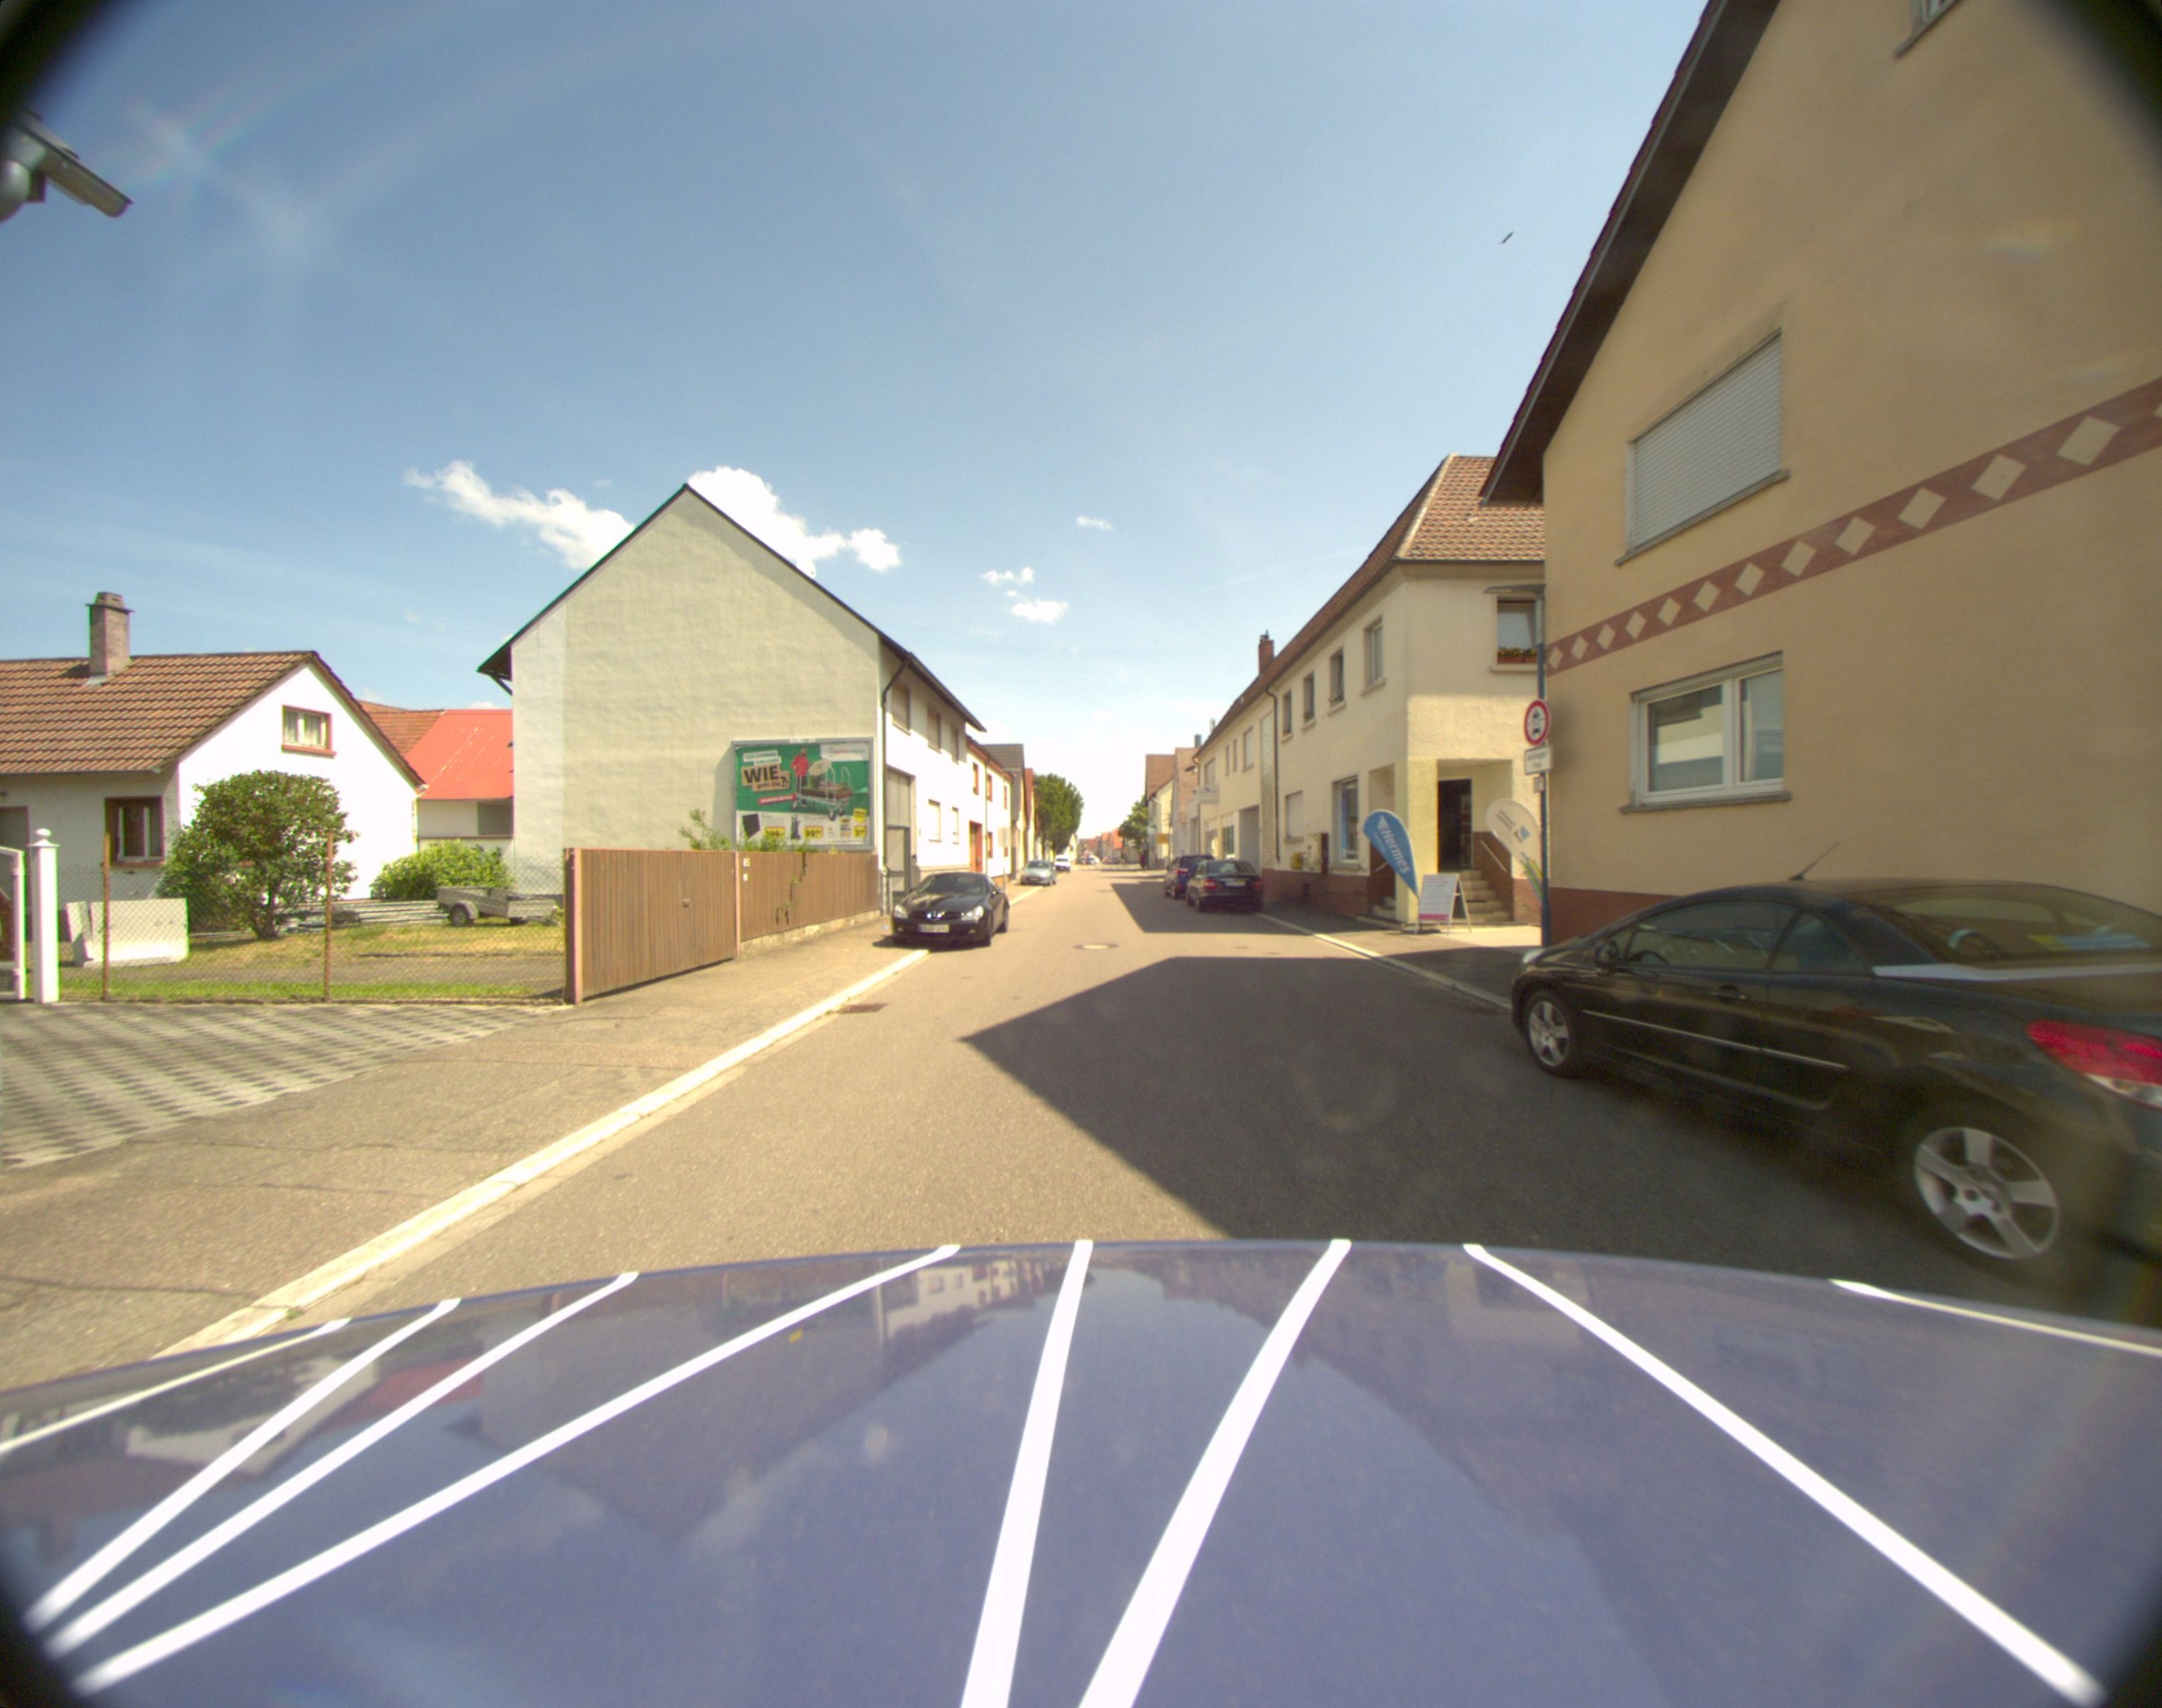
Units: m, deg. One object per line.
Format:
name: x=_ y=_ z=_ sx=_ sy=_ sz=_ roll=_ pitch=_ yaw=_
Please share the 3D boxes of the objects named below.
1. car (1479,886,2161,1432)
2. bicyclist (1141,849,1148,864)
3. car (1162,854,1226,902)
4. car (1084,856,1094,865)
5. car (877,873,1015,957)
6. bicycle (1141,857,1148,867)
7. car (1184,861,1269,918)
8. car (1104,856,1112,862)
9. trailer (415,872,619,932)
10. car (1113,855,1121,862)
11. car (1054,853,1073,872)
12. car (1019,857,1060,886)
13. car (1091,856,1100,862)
car: x=4.030 y=0.966 z=3.988 sx=1.766 sy=1.366 sz=4.066 roll=-2 pitch=0 yaw=1
bicyclist: x=7.001 y=0.232 z=83.890 sx=0.748 sy=1.627 sz=0.956 roll=-1 pitch=1 yaw=4
car: x=4.154 y=0.841 z=28.449 sx=1.721 sy=1.630 sz=4.148 roll=1 pitch=0 yaw=0
car: x=1.391 y=1.153 z=134.602 sx=1.597 sy=1.533 sz=4.201 roll=-2 pitch=1 yaw=3
car: x=-2.443 y=1.074 z=14.822 sx=1.820 sy=1.268 sz=4.147 roll=-1 pitch=0 yaw=2
bicycle: x=7.007 y=0.862 z=83.824 sx=0.744 sy=1.041 sz=1.940 roll=-1 pitch=0 yaw=4
car: x=4.100 y=0.956 z=22.076 sx=1.702 sy=1.403 sz=4.390 roll=-1 pitch=0 yaw=1
car: x=6.091 y=1.112 z=170.775 sx=1.598 sy=1.385 sz=4.168 roll=-2 pitch=0 yaw=1
trailer: x=-13.086 y=1.091 z=17.757 sx=3.457 sy=1.251 sz=1.952 roll=-1 pitch=0 yaw=10
car: x=7.491 y=0.934 z=158.411 sx=1.726 sy=1.385 sz=4.171 roll=-1 pitch=-2 yaw=3
car: x=-1.792 y=0.850 z=79.632 sx=1.692 sy=1.831 sz=4.764 roll=2 pitch=0 yaw=1
car: x=-2.307 y=0.943 z=43.107 sx=1.725 sy=1.473 sz=3.751 roll=3 pitch=0 yaw=5
car: x=3.379 y=1.152 z=175.861 sx=1.848 sy=1.385 sz=4.169 roll=-1 pitch=-2 yaw=-1
